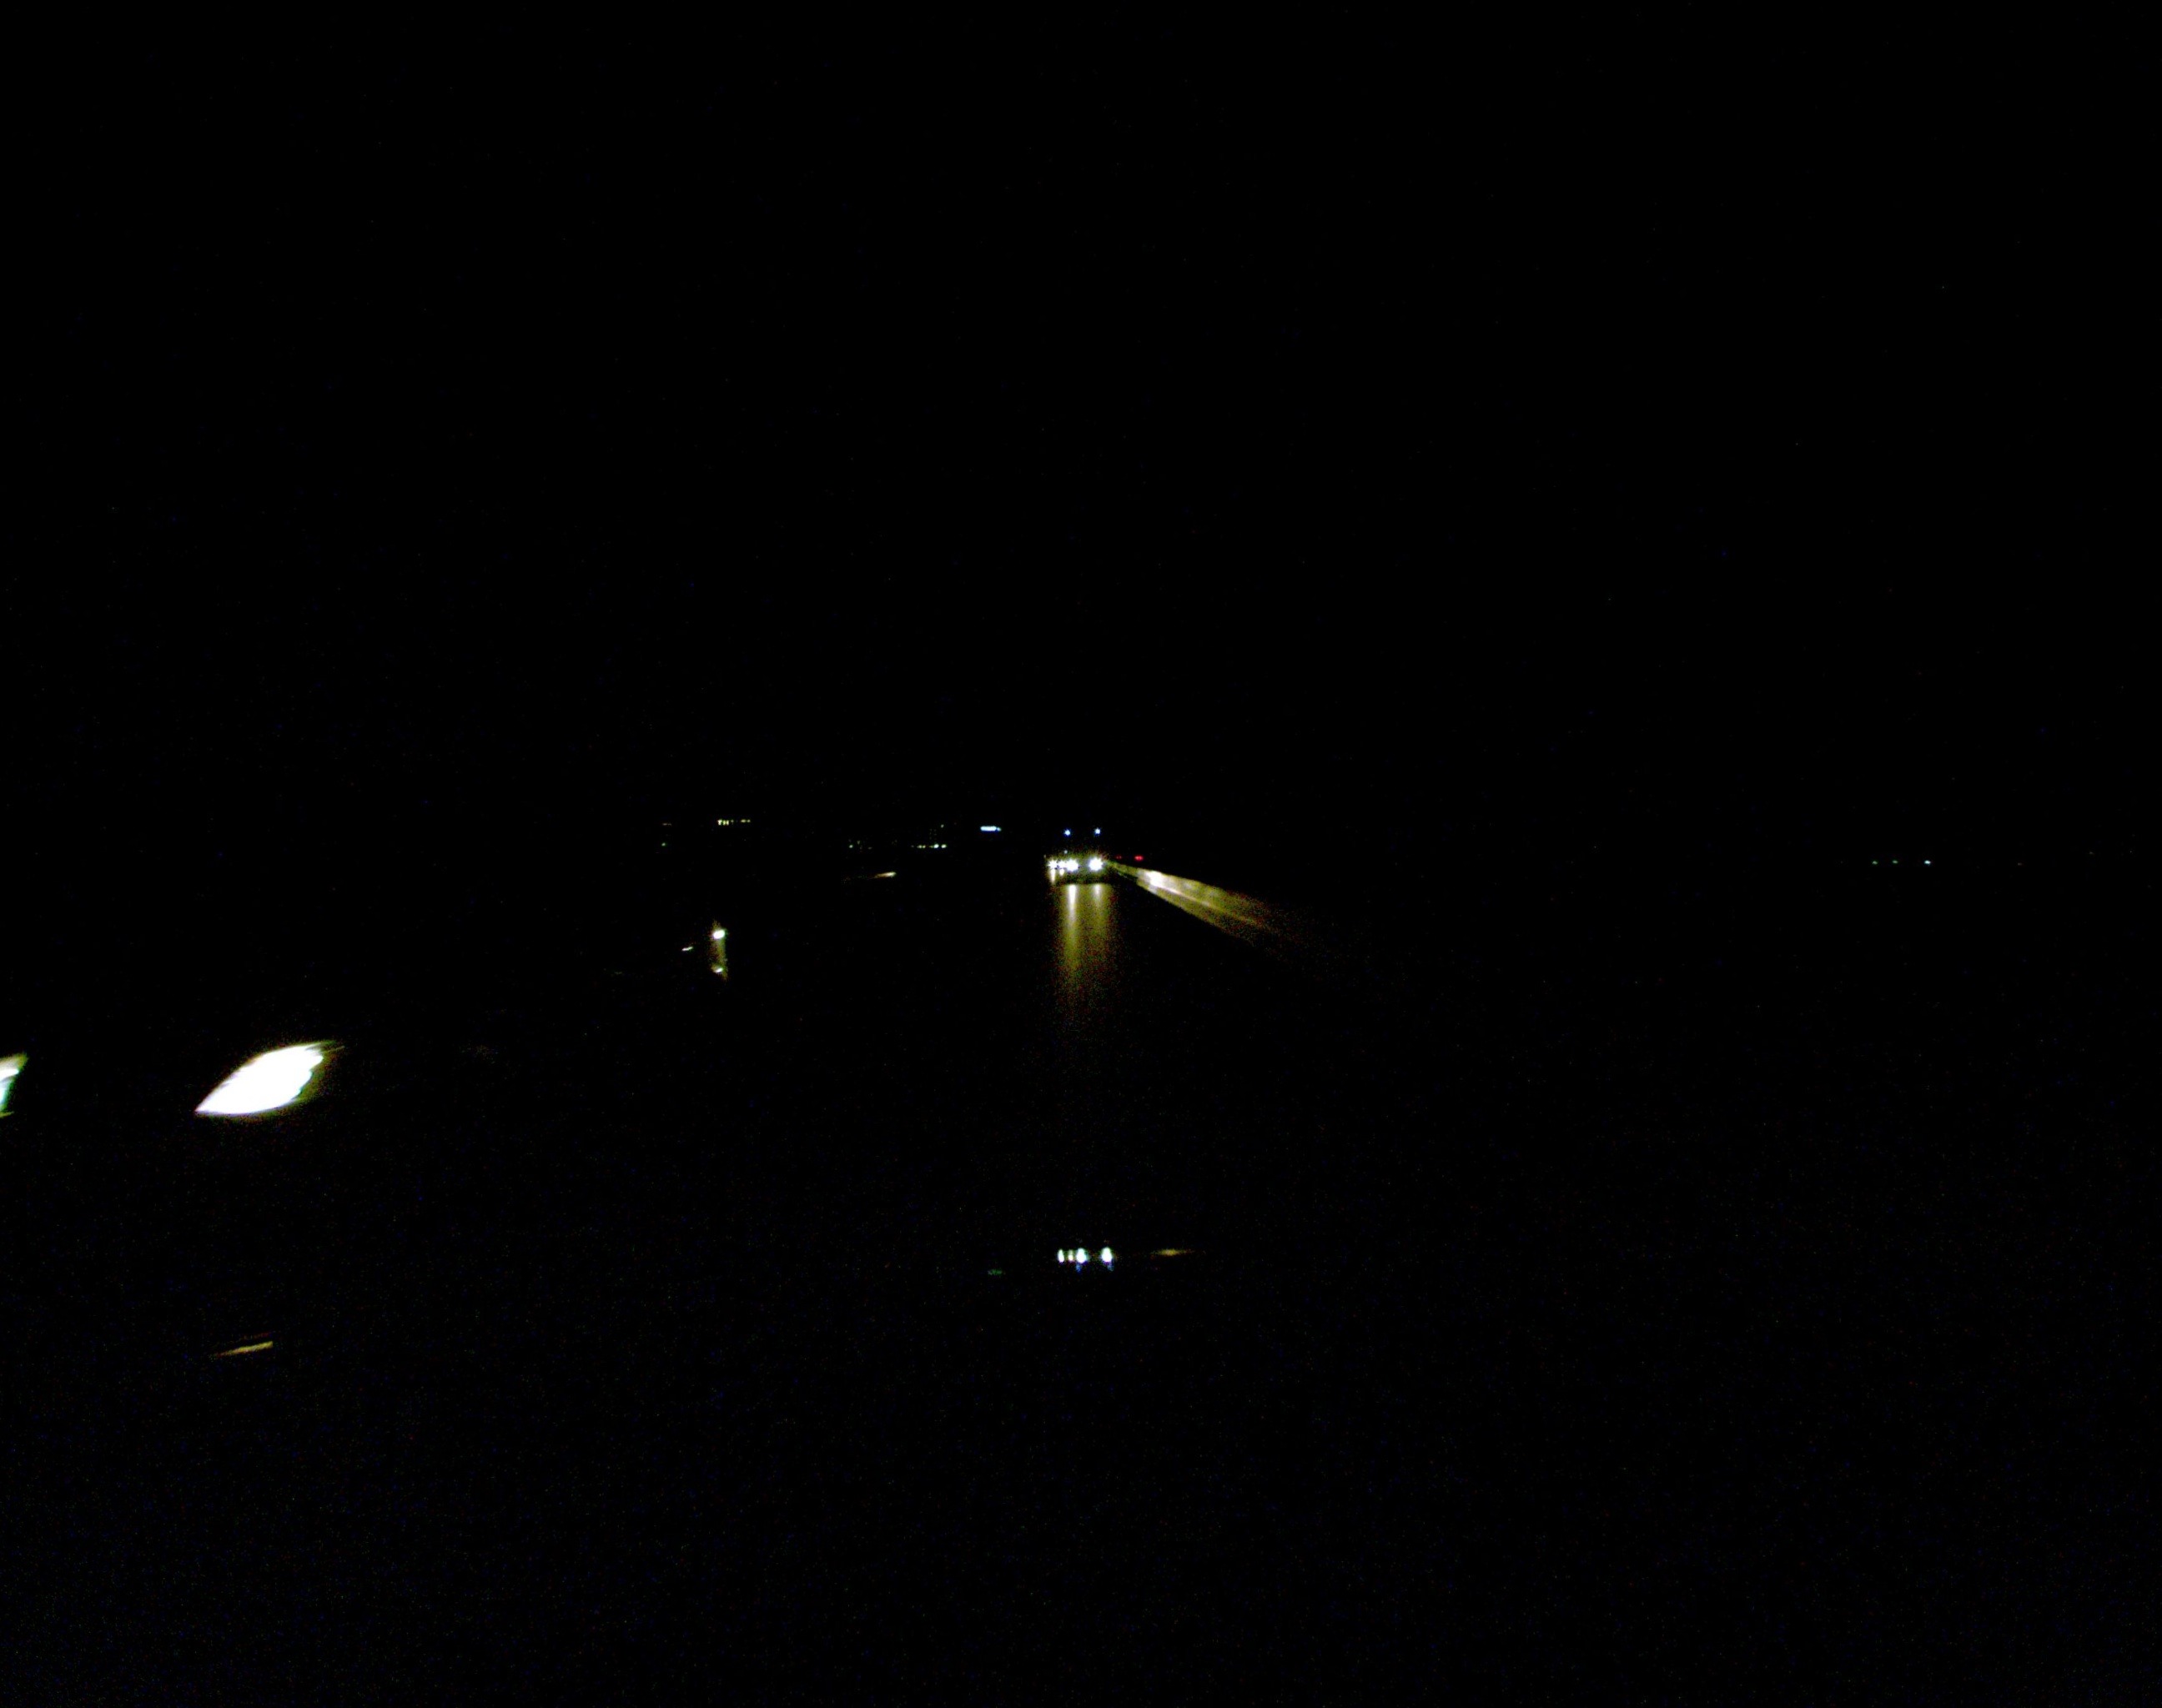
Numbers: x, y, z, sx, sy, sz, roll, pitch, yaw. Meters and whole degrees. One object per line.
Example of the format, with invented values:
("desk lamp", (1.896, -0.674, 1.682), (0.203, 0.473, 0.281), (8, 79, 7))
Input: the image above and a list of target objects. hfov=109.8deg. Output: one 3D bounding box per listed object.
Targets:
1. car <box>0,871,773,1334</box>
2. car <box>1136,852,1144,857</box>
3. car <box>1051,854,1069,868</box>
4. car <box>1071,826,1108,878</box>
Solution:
("car", (-3.841, 0.975, 5.054), (1.650, 1.587, 4.510), (-1, 0, 1))
("car", (18.741, 0.194, 239.657), (1.999, 1.411, 4.982), (1, 0, -1))
("car", (-2.563, 0.808, 93.613), (1.998, 1.576, 4.128), (-2, 0, 1))
("car", (0.558, -0.165, 51.251), (2.255, 3.205, 6.878), (-2, 0, 1))
